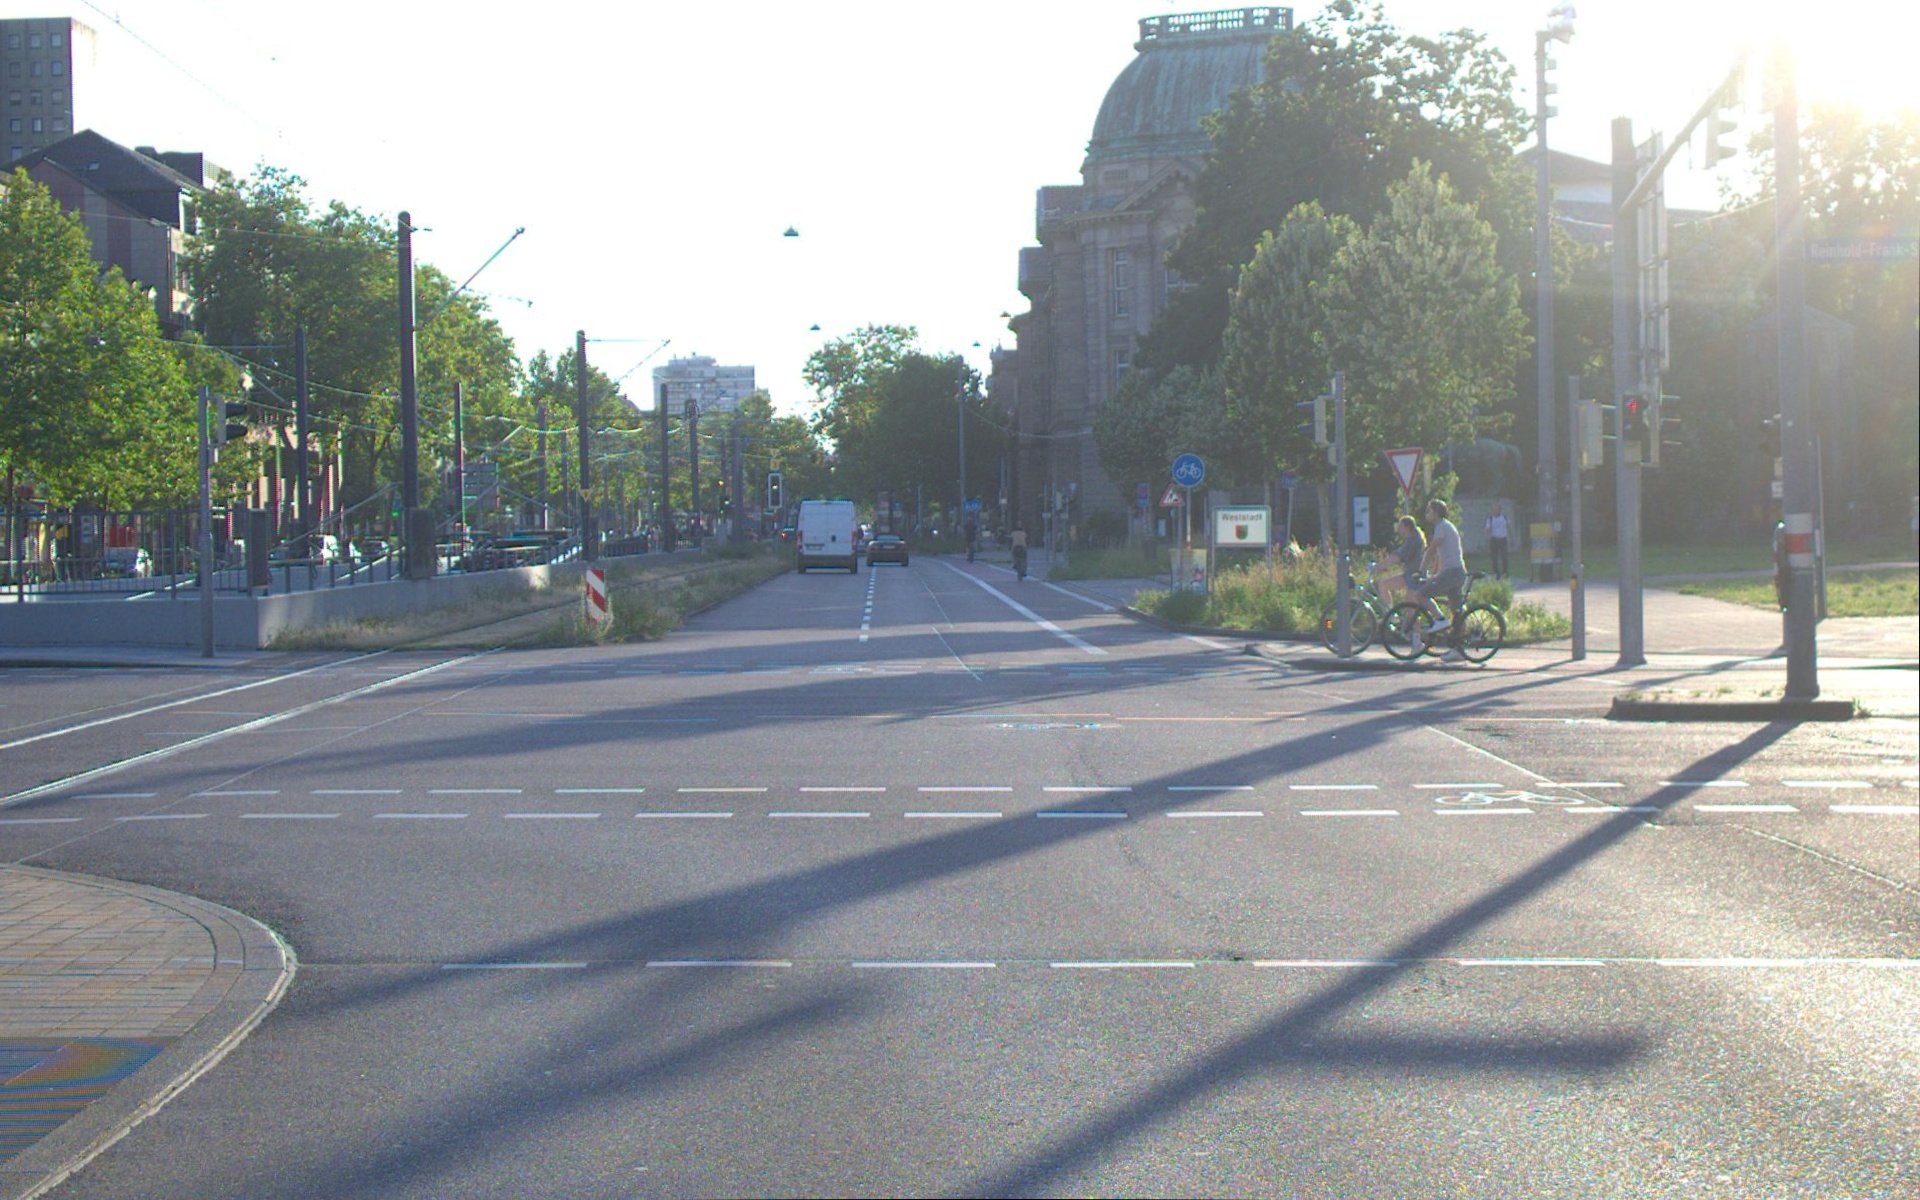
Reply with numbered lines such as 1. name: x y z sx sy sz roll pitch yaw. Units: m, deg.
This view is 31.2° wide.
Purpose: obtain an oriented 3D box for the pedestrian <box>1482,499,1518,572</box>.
1. pedestrian: 11.977 -1.431 76.296 0.682 1.605 0.613 -1 2 -1

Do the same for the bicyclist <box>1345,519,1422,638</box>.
1. bicyclist: 5.262 -0.278 42.733 0.853 1.437 0.663 -1 2 0

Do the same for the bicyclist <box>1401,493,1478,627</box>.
1. bicyclist: 5.702 -0.484 40.929 0.797 1.566 0.663 -1 2 -1

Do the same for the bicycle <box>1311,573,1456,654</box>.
1. bicycle: 5.257 0.162 42.748 1.718 0.966 0.609 0 2 -1

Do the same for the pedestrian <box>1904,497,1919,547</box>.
1. pedestrian: 32.366 -2.644 116.352 0.798 1.696 0.800 0 1 14

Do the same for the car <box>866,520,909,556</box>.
1. car: -3.045 -2.620 144.920 1.737 1.381 4.001 -1 3 -1

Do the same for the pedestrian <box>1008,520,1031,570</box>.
1. pedestrian: 1.765 -1.628 101.705 0.616 1.470 0.800 -1 2 3

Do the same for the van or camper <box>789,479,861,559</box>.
1. van or camper: -4.626 -2.823 118.436 2.263 2.615 4.503 -1 3 0

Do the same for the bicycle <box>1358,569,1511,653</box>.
1. bicycle: 5.642 0.130 40.951 1.728 0.966 0.609 0 2 -1
